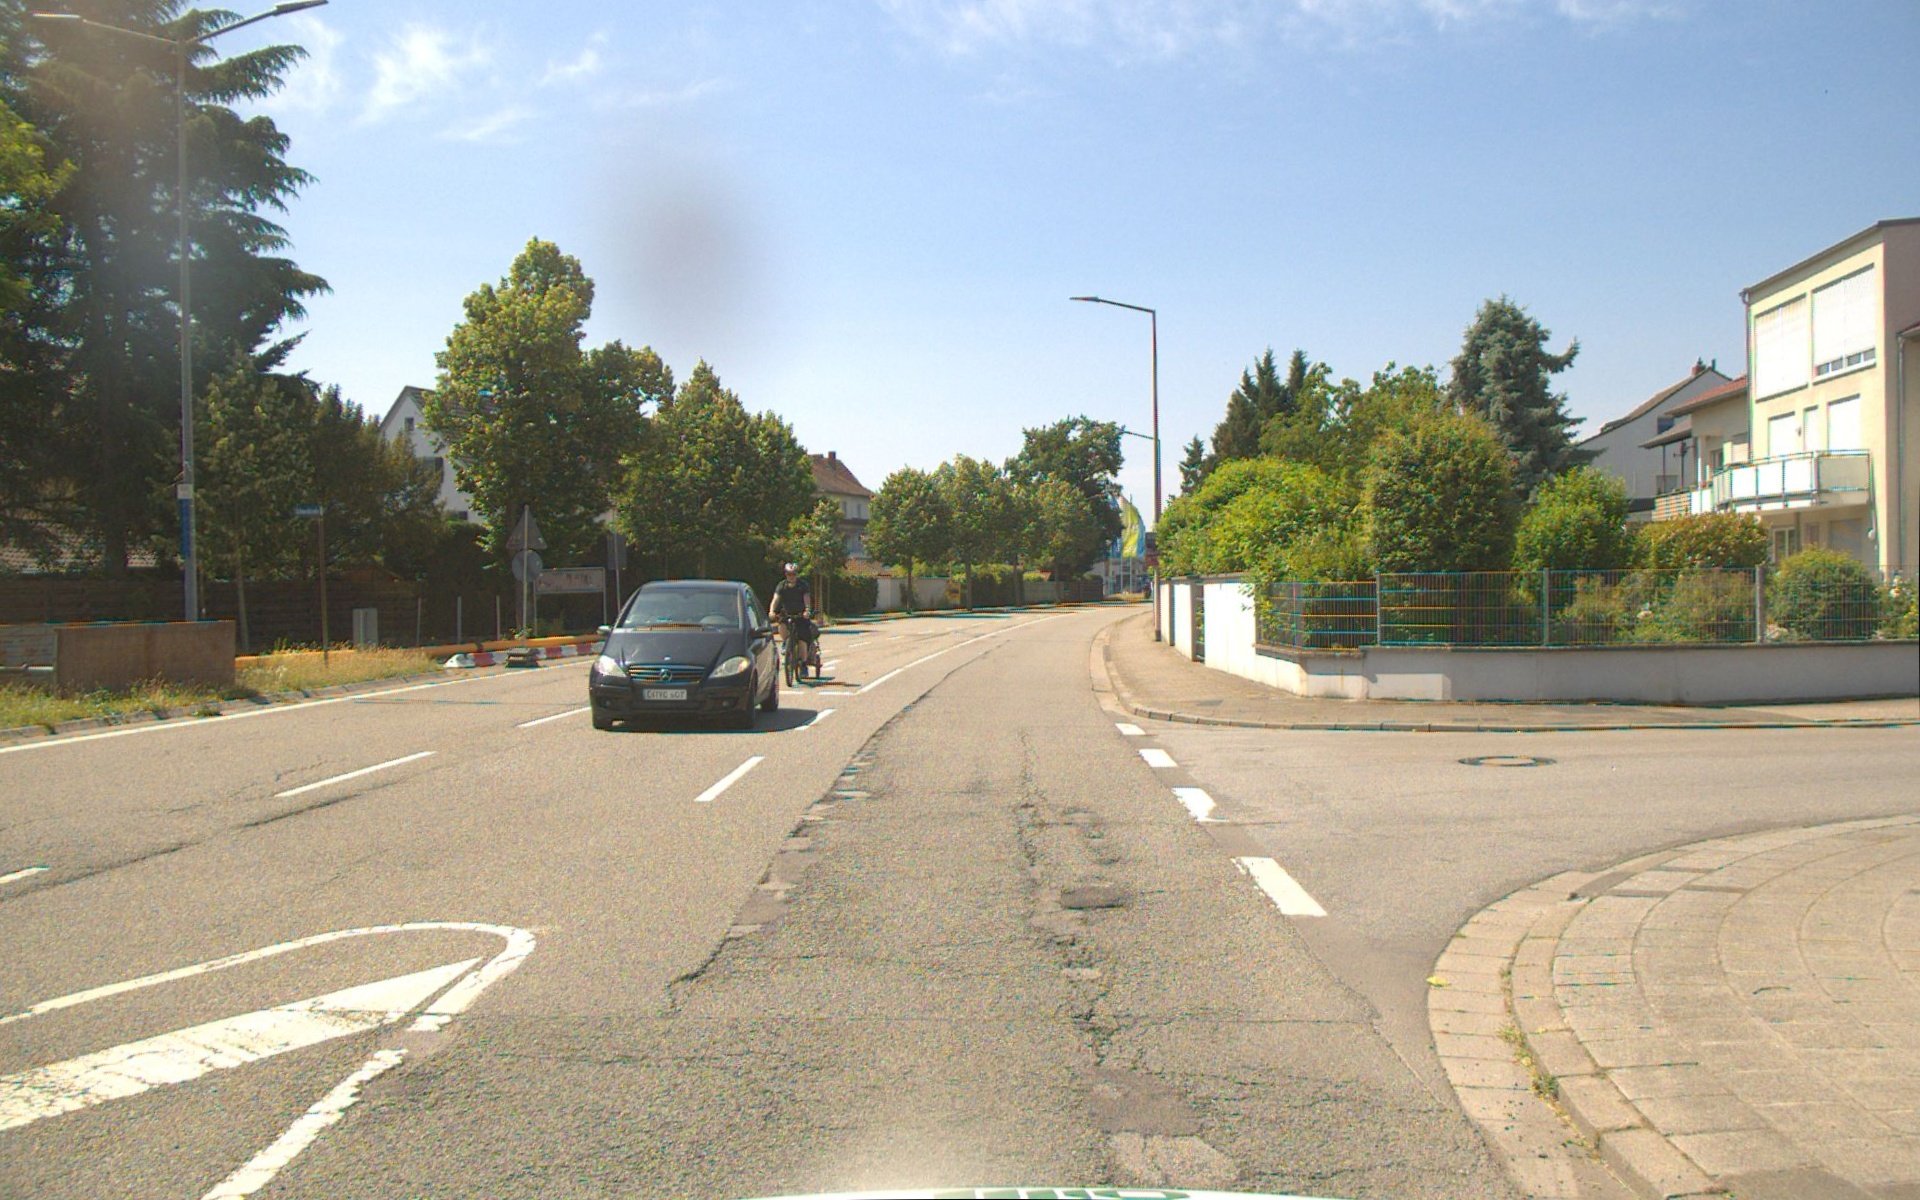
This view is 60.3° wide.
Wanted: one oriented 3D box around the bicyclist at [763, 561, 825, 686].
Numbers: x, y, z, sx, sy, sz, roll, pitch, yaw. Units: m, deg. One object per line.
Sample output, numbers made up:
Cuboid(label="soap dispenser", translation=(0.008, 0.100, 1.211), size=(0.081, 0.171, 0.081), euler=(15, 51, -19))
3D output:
Cuboid(label="bicyclist", translation=(-2.572, 0.359, 25.745), size=(0.828, 1.898, 0.976), euler=(0, 0, 2))

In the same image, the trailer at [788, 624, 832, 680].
Cuboid(label="trailer", translation=(-2.477, 0.848, 27.360), size=(0.558, 0.871, 1.133), euler=(-1, 0, 2))

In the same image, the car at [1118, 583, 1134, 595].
Cuboid(label="car", translation=(22.283, -1.478, 222.457), size=(1.582, 1.445, 3.715), euler=(-2, 0, 14))

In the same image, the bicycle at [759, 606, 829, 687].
Cuboid(label="bicycle", translation=(-2.570, 0.699, 25.797), size=(0.832, 1.186, 1.978), euler=(0, 0, 2))

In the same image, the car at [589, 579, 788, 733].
Cuboid(label="car", translation=(-2.977, 0.567, 18.852), size=(1.690, 1.559, 3.829), euler=(1, 0, -1))
